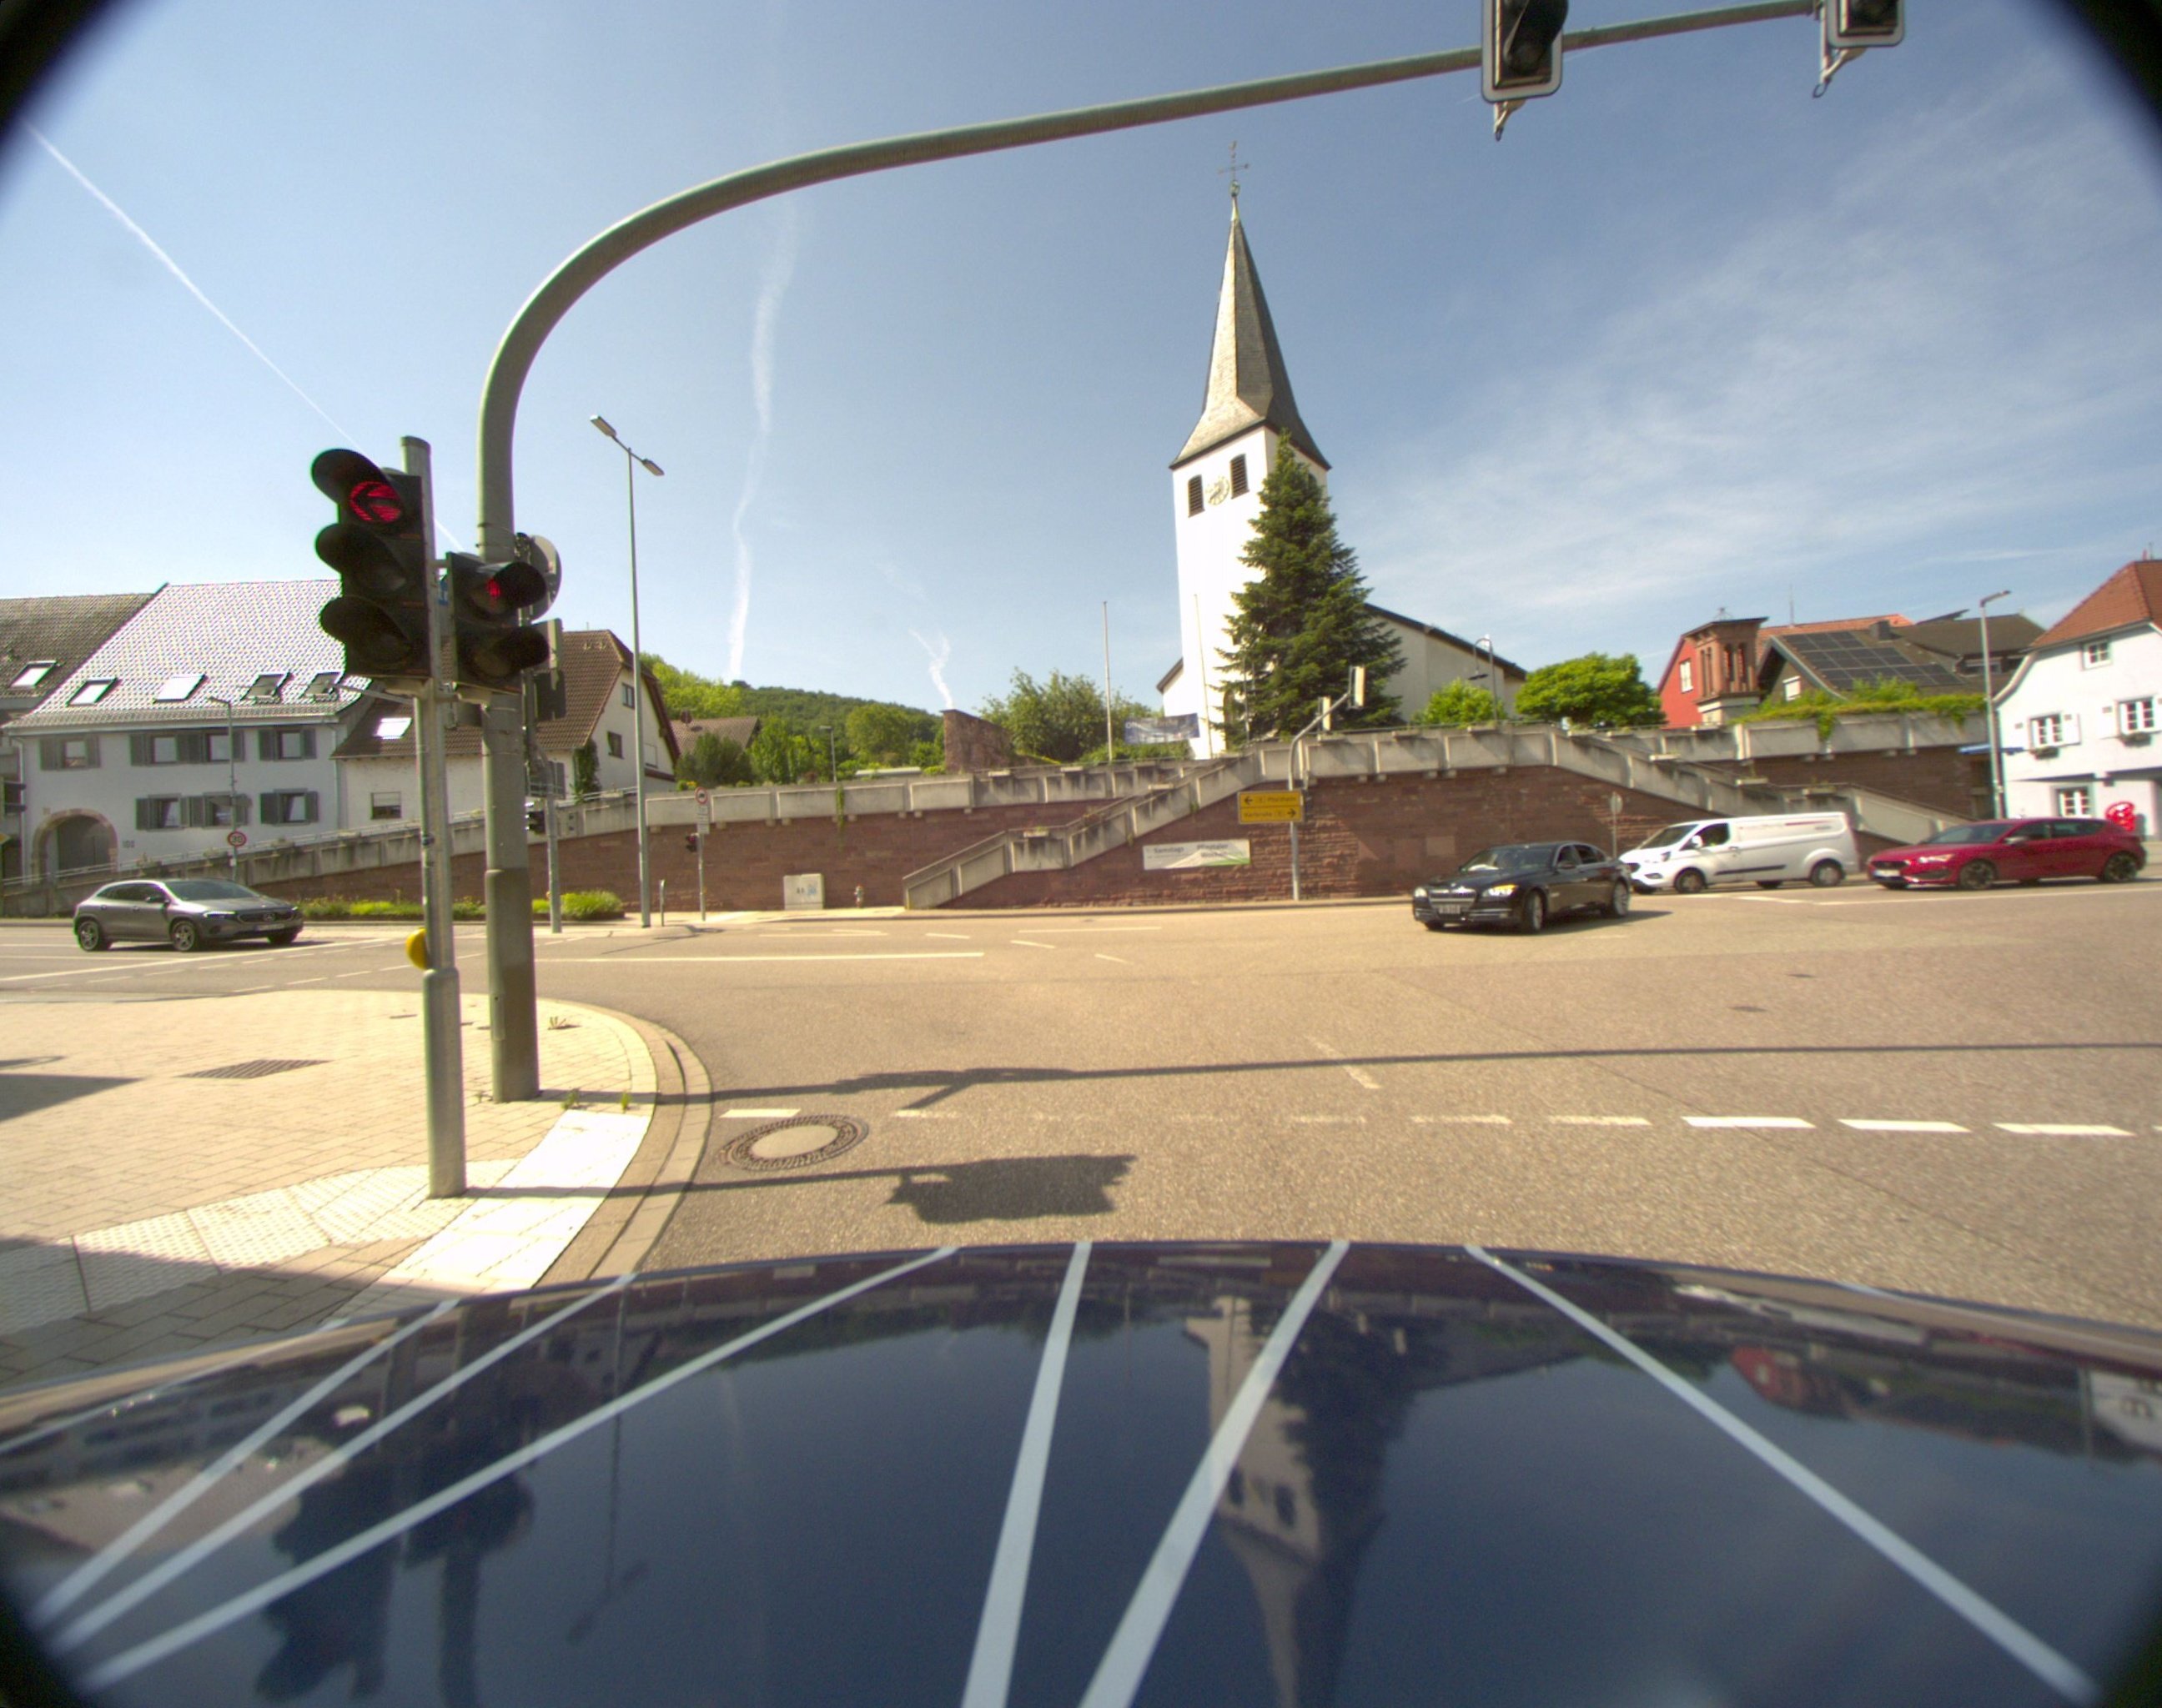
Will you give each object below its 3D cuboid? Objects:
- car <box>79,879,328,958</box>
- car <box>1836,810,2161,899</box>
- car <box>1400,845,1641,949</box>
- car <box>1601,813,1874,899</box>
[{"bbox_3d":[-19.758,1.421,17.170,4.283,1.564,1.740,-1,1,12],"label":"car"},{"bbox_3d":[19.736,0.000,16.174,4.942,1.506,2.167,-3,0,4],"label":"car"},{"bbox_3d":[7.750,0.656,13.296,4.255,1.426,1.822,-3,0,-32],"label":"car"},{"bbox_3d":[17.552,0.085,20.591,5.272,1.955,2.145,-3,-1,5],"label":"car"}]
